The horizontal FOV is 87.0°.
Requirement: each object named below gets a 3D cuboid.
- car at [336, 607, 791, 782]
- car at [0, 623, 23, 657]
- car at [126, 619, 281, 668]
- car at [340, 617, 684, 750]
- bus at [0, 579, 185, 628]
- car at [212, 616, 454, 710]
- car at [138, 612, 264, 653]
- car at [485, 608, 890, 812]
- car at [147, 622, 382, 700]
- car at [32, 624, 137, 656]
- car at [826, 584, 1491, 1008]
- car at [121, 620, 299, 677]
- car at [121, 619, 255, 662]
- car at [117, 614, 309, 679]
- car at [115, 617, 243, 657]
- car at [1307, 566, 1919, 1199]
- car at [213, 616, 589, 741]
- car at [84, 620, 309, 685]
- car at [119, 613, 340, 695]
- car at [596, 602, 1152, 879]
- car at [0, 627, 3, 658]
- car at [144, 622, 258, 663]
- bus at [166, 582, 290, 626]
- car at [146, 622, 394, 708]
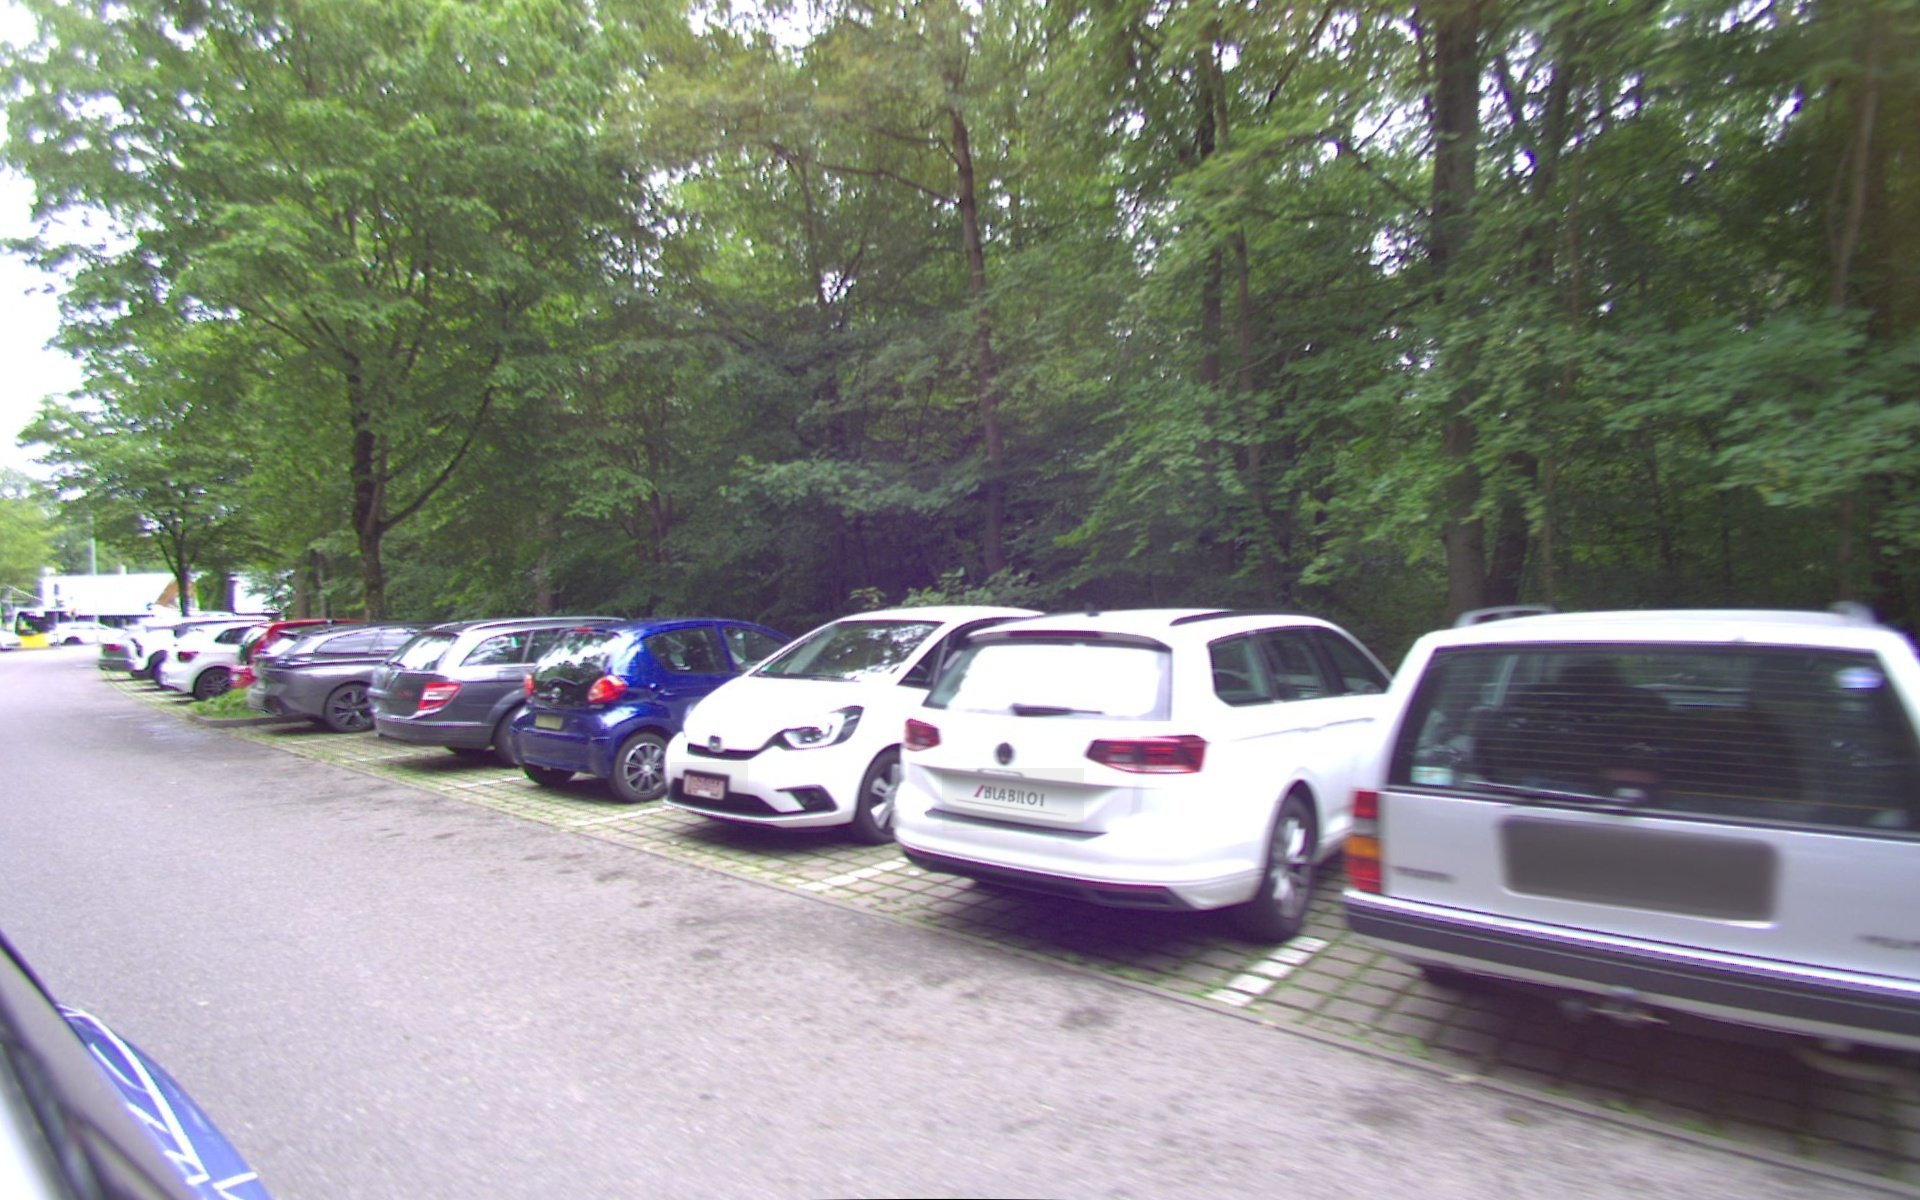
[{"bbox_3d":[-4.216,0.868,11.212,2.058,1.497,4.218,-2,-1,44],"label":"car"},{"bbox_3d":[-51.380,2.115,51.900,4.456,1.706,2.172,-1,0,-26],"label":"car"},{"bbox_3d":[-26.053,1.442,34.924,4.180,1.484,1.723,-1,0,-40],"label":"car"},{"bbox_3d":[-5.708,0.965,13.151,3.713,1.397,1.757,-1,-1,-45],"label":"car"},{"bbox_3d":[-63.211,0.266,73.773,2.798,3.183,10.422,-4,-2,27],"label":"bus"},{"bbox_3d":[-11.182,1.053,18.169,1.685,1.492,3.425,-2,-1,45],"label":"car"},{"bbox_3d":[-39.090,1.638,52.300,5.015,1.930,1.984,-1,-1,-31],"label":"car"},{"bbox_3d":[-2.356,0.837,9.241,1.679,1.455,3.186,-2,-1,40],"label":"car"},{"bbox_3d":[-14.549,1.212,21.300,1.897,1.432,3.762,-2,-1,42],"label":"car"},{"bbox_3d":[-57.767,2.614,66.835,1.996,1.790,4.869,-5,-2,36],"label":"car"},{"bbox_3d":[1.553,0.699,5.945,2.082,1.458,4.521,-2,-1,36],"label":"car"},{"bbox_3d":[-22.744,1.422,30.770,4.182,1.545,1.764,0,-1,-43],"label":"car"},{"bbox_3d":[-29.004,1.495,38.098,3.937,1.502,1.710,0,-2,-40],"label":"car"},{"bbox_3d":[-21.187,1.275,28.808,4.184,1.660,1.971,0,-1,-44],"label":"car"},{"bbox_3d":[-33.885,1.581,44.061,4.297,1.610,2.036,-1,-1,-35],"label":"car"},{"bbox_3d":[3.295,0.672,4.375,1.868,1.497,4.516,-2,-1,40],"label":"car"},{"bbox_3d":[-7.910,1.001,14.610,2.036,1.435,4.355,-2,-1,44],"label":"car"},{"bbox_3d":[-20.070,1.321,26.710,4.584,1.489,2.097,0,-1,-43],"label":"car"},{"bbox_3d":[-16.437,1.160,22.944,3.908,1.640,2.003,0,-1,-36],"label":"car"},{"bbox_3d":[-0.361,0.787,7.869,1.889,1.497,4.324,-1,0,38],"label":"car"},{"bbox_3d":[-50.076,2.228,49.756,3.941,1.567,1.953,-3,-1,-25],"label":"car"},{"bbox_3d":[-30.128,1.656,40.288,3.559,1.485,1.678,-1,-1,-36],"label":"car"},{"bbox_3d":[-58.979,0.343,81.768,2.798,3.183,7.686,-4,-2,27],"label":"bus"},{"bbox_3d":[-13.193,1.167,19.459,3.683,1.430,1.873,0,-1,-44],"label":"car"}]
